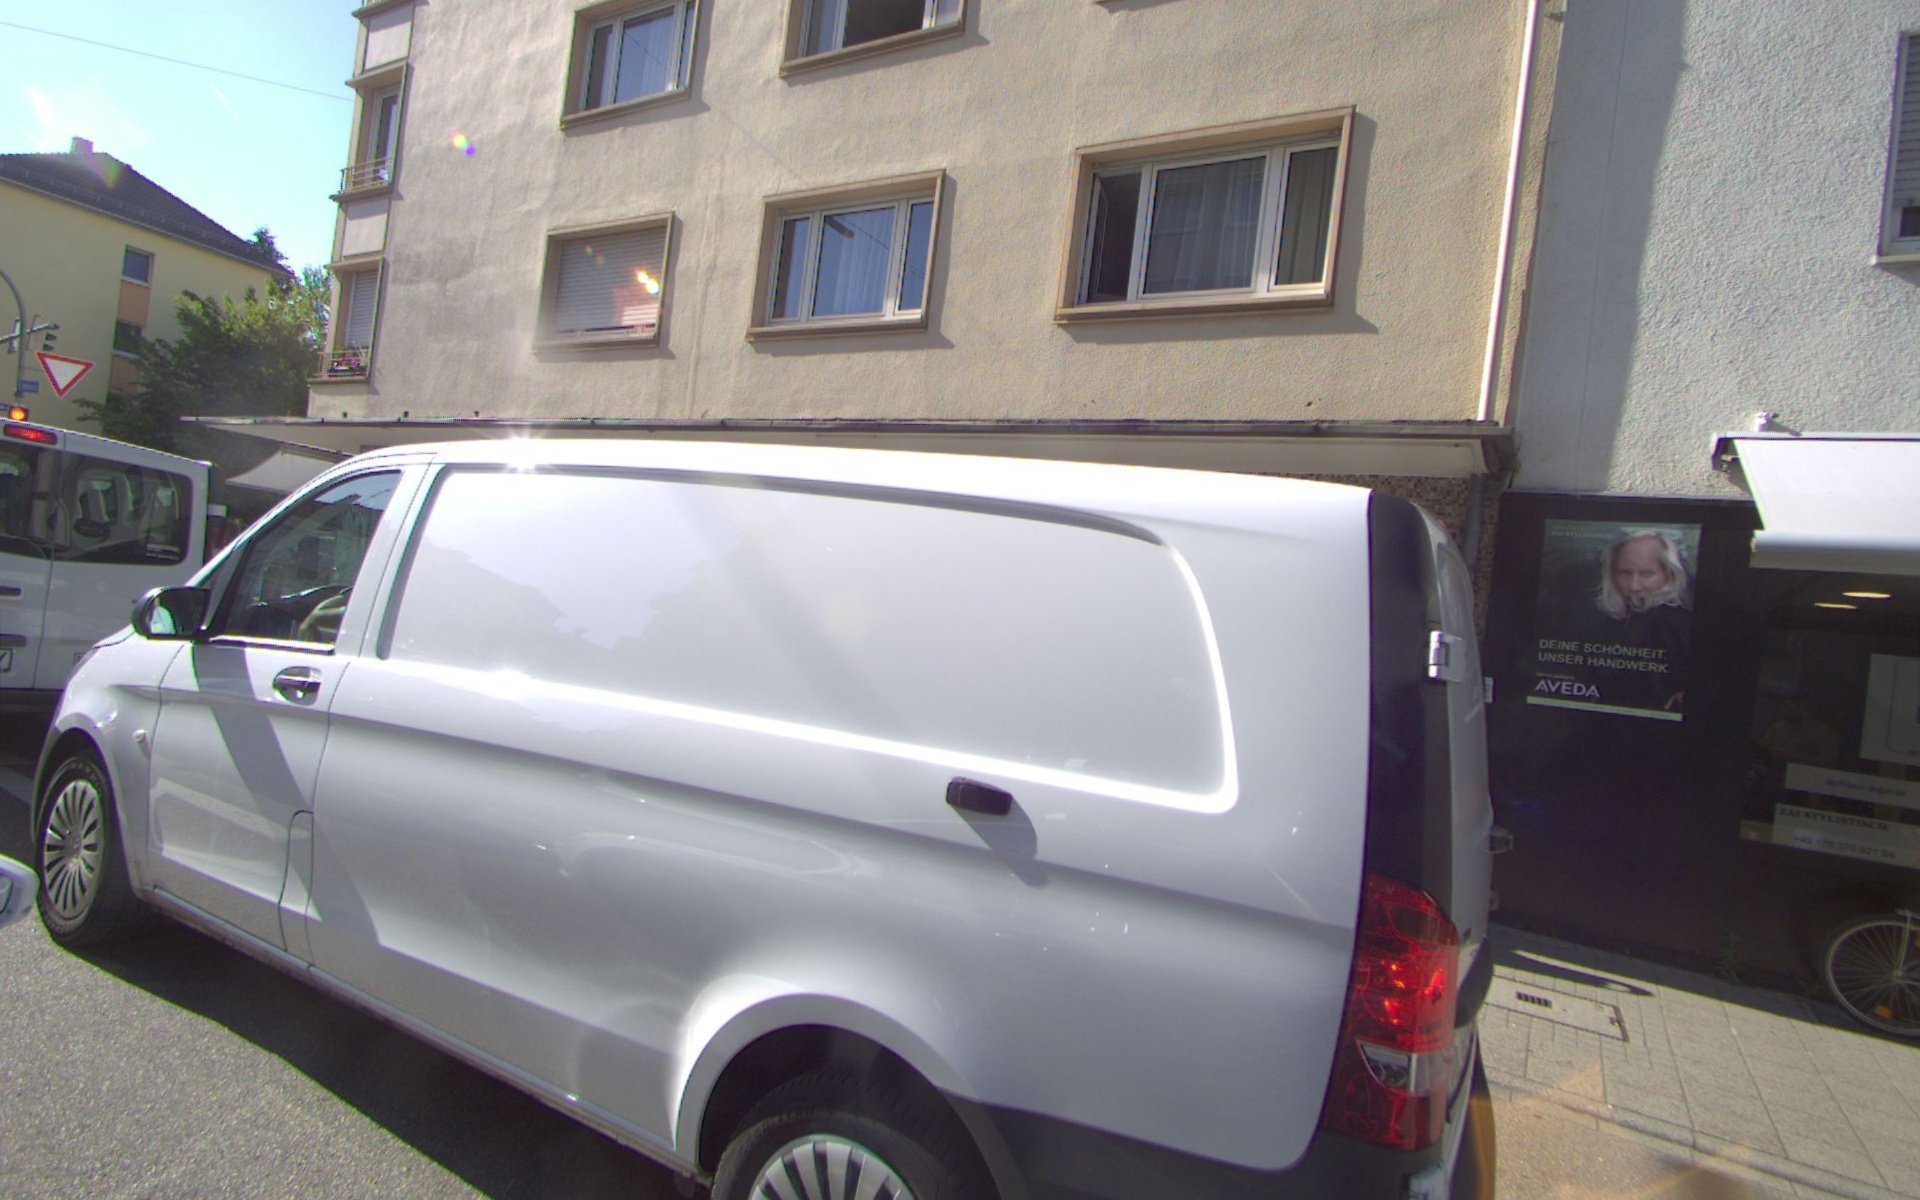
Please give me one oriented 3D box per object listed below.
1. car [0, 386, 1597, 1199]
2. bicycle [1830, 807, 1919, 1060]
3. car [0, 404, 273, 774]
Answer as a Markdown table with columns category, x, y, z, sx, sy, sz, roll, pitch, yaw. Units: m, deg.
| category | x | y | z | sx | sy | sz | roll | pitch | yaw |
| --- | --- | --- | --- | --- | --- | --- | --- | --- | --- |
| car | -1.009 | 0.498 | 3.290 | 4.910 | 1.891 | 1.841 | 7 | -1 | 28 |
| bicycle | 5.386 | 1.756 | 4.766 | 1.763 | 1.148 | 0.401 | 7 | 3 | 32 |
| car | -7.114 | -0.252 | 6.945 | 4.815 | 2.001 | 1.998 | 7 | -3 | 33 |
